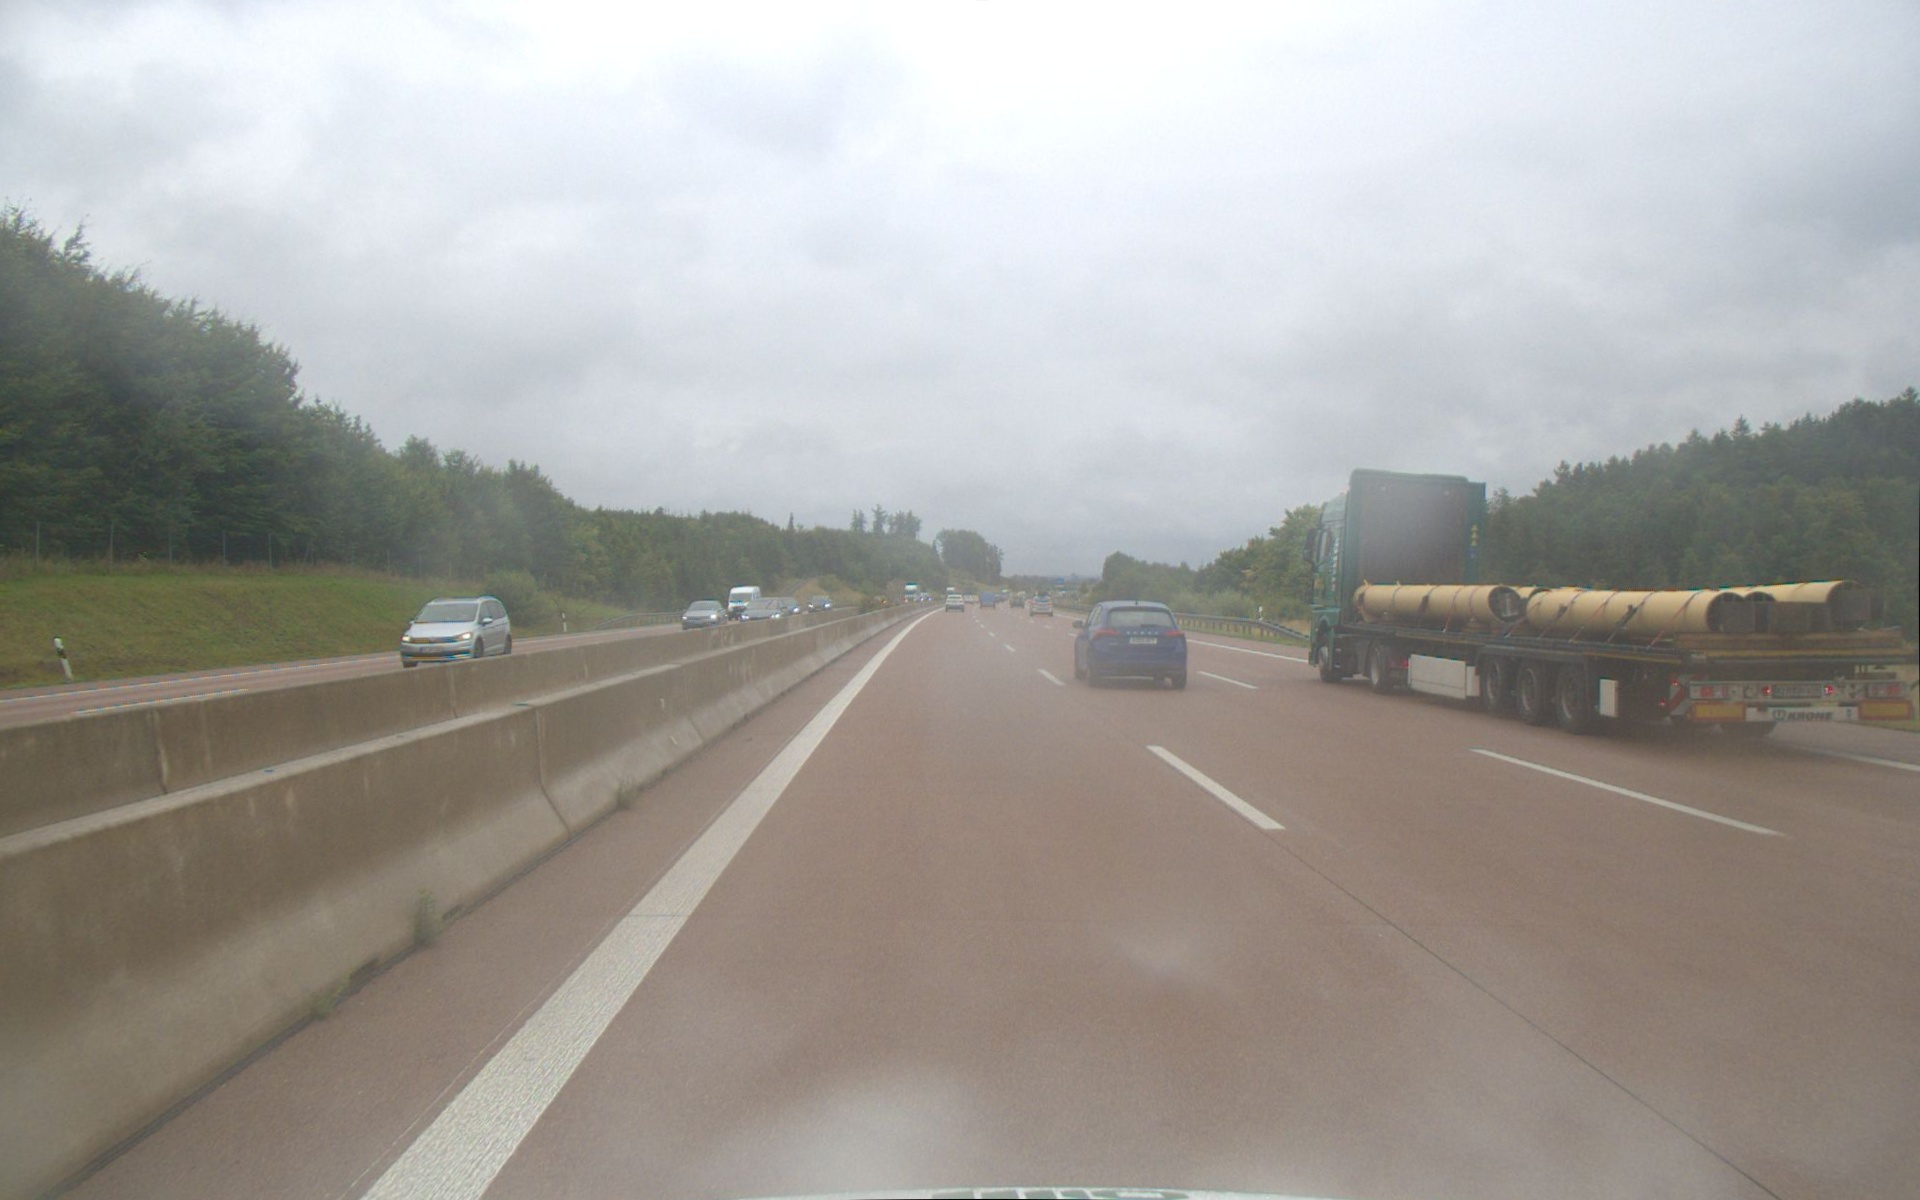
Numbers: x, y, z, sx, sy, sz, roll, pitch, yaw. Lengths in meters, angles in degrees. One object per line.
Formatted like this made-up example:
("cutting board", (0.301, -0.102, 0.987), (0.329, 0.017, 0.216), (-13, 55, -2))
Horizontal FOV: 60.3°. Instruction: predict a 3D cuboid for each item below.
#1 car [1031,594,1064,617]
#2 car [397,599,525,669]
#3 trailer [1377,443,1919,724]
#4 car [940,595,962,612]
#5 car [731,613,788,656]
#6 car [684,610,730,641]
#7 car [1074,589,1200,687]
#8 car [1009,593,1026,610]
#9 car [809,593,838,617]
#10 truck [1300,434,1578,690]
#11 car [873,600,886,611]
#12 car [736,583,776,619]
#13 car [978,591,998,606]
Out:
("car", (6.932, 0.458, 131.730), (2.275, 1.780, 4.875), (1, -1, -1))
("car", (-12.232, 0.791, 40.845), (1.752, 1.584, 4.864), (-2, 0, -1))
("trailer", (8.517, -0.059, 22.071), (2.823, 2.722, 11.395), (1, -1, -1))
("car", (-0.865, 0.334, 158.531), (1.837, 1.470, 4.873), (1, -1, -3))
("car", (-8.522, 1.454, 70.847), (1.820, 1.737, 6.161), (1, -1, -2))
("car", (-12.701, 1.264, 83.209), (1.616, 1.414, 4.809), (-3, 0, -2))
("car", (3.092, 0.668, 29.654), (1.735, 1.591, 4.145), (1, -1, -1))
("car", (7.606, 0.222, 217.876), (1.953, 2.049, 3.999), (1, -1, -1))
("car", (-10.880, 0.399, 132.274), (1.953, 1.859, 4.686), (0, 0, 0))
("truck", (8.397, -0.547, 29.967), (2.838, 4.034, 6.986), (1, -1, -1))
("car", (-11.703, 0.779, 239.406), (1.681, 1.610, 4.315), (-1, -1, 0))
("car", (-15.674, 0.142, 127.317), (2.178, 2.630, 6.254), (1, -1, 0))
("car", (3.329, -0.171, 198.930), (2.275, 1.780, 4.875), (1, -1, -1))
